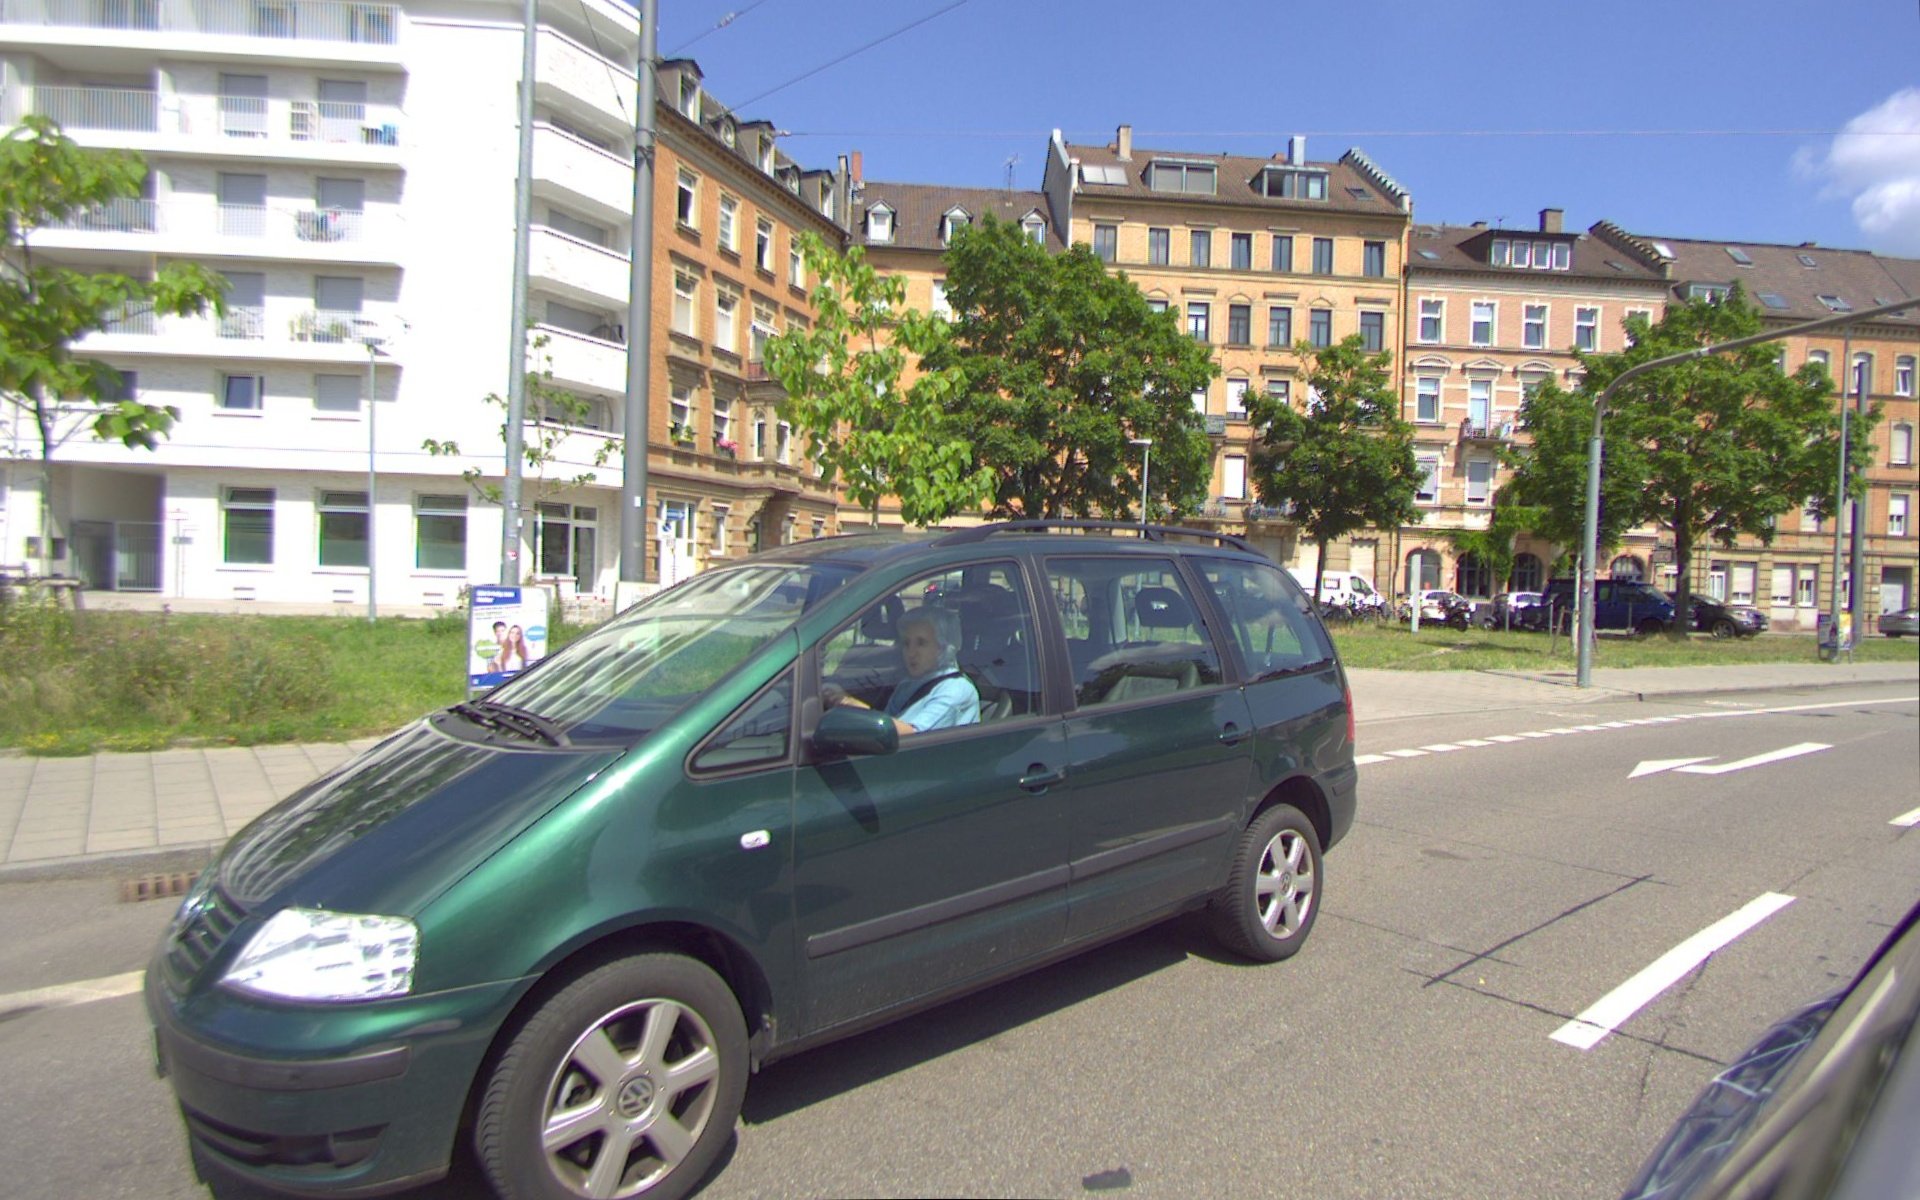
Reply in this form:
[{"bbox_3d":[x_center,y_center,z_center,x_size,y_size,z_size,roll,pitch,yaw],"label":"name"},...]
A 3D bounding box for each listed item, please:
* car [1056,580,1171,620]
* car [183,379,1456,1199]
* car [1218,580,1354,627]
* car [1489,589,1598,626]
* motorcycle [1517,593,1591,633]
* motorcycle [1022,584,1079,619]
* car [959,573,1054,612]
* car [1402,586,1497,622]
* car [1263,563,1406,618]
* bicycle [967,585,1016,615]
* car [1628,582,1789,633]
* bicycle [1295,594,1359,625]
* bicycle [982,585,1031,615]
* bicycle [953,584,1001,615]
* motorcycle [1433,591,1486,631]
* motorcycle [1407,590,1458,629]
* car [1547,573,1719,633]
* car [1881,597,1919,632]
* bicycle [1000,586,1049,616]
[{"bbox_3d":[5.213,-0.004,34.902,1.825,1.260,4.171,1,0,-27],"label":"car"},{"bbox_3d":[0.009,0.513,4.125,4.943,1.779,1.822,1,0,-41],"label":"car"},{"bbox_3d":[11.083,0.092,34.706,1.770,1.445,4.263,1,1,-32],"label":"car"},{"bbox_3d":[25.416,0.310,44.152,3.778,1.511,1.665,1,0,-3],"label":"car"},{"bbox_3d":[18.606,0.412,31.738,1.875,1.181,0.638,2,0,9],"label":"motorcycle"},{"bbox_3d":[3.078,0.032,34.731,0.796,1.140,2.395,1,0,-27],"label":"motorcycle"},{"bbox_3d":[1.921,-0.301,42.385,3.778,1.511,1.665,1,0,-3],"label":"car"},{"bbox_3d":[21.092,0.171,43.711,3.286,1.420,1.569,2,1,-1],"label":"car"},{"bbox_3d":[15.994,-0.385,43.356,5.288,2.206,2.119,1,0,-3],"label":"car"},{"bbox_3d":[1.038,-0.010,33.817,0.532,0.981,2.395,1,0,-27],"label":"bicycle"},{"bbox_3d":[26.225,0.242,35.604,1.878,1.677,4.179,1,0,-30],"label":"car"},{"bbox_3d":[11.353,0.282,31.325,1.784,0.913,0.544,1,-1,-7],"label":"bicycle"},{"bbox_3d":[1.554,0.001,34.072,0.532,0.981,2.395,1,0,-27],"label":"bicycle"},{"bbox_3d":[0.543,-0.021,33.554,0.532,0.981,2.395,1,0,-27],"label":"bicycle"},{"bbox_3d":[15.931,0.335,32.317,0.627,1.181,1.791,1,1,-5],"label":"motorcycle"},{"bbox_3d":[15.041,0.298,32.259,0.627,1.181,1.791,1,1,-5],"label":"motorcycle"},{"bbox_3d":[23.400,0.099,35.367,1.879,1.952,4.631,1,0,-34],"label":"car"},{"bbox_3d":[44.058,0.670,45.270,4.144,1.511,1.839,1,0,-3],"label":"car"},{"bbox_3d":[2.165,0.021,34.376,0.532,0.968,2.395,1,0,-27],"label":"bicycle"}]
